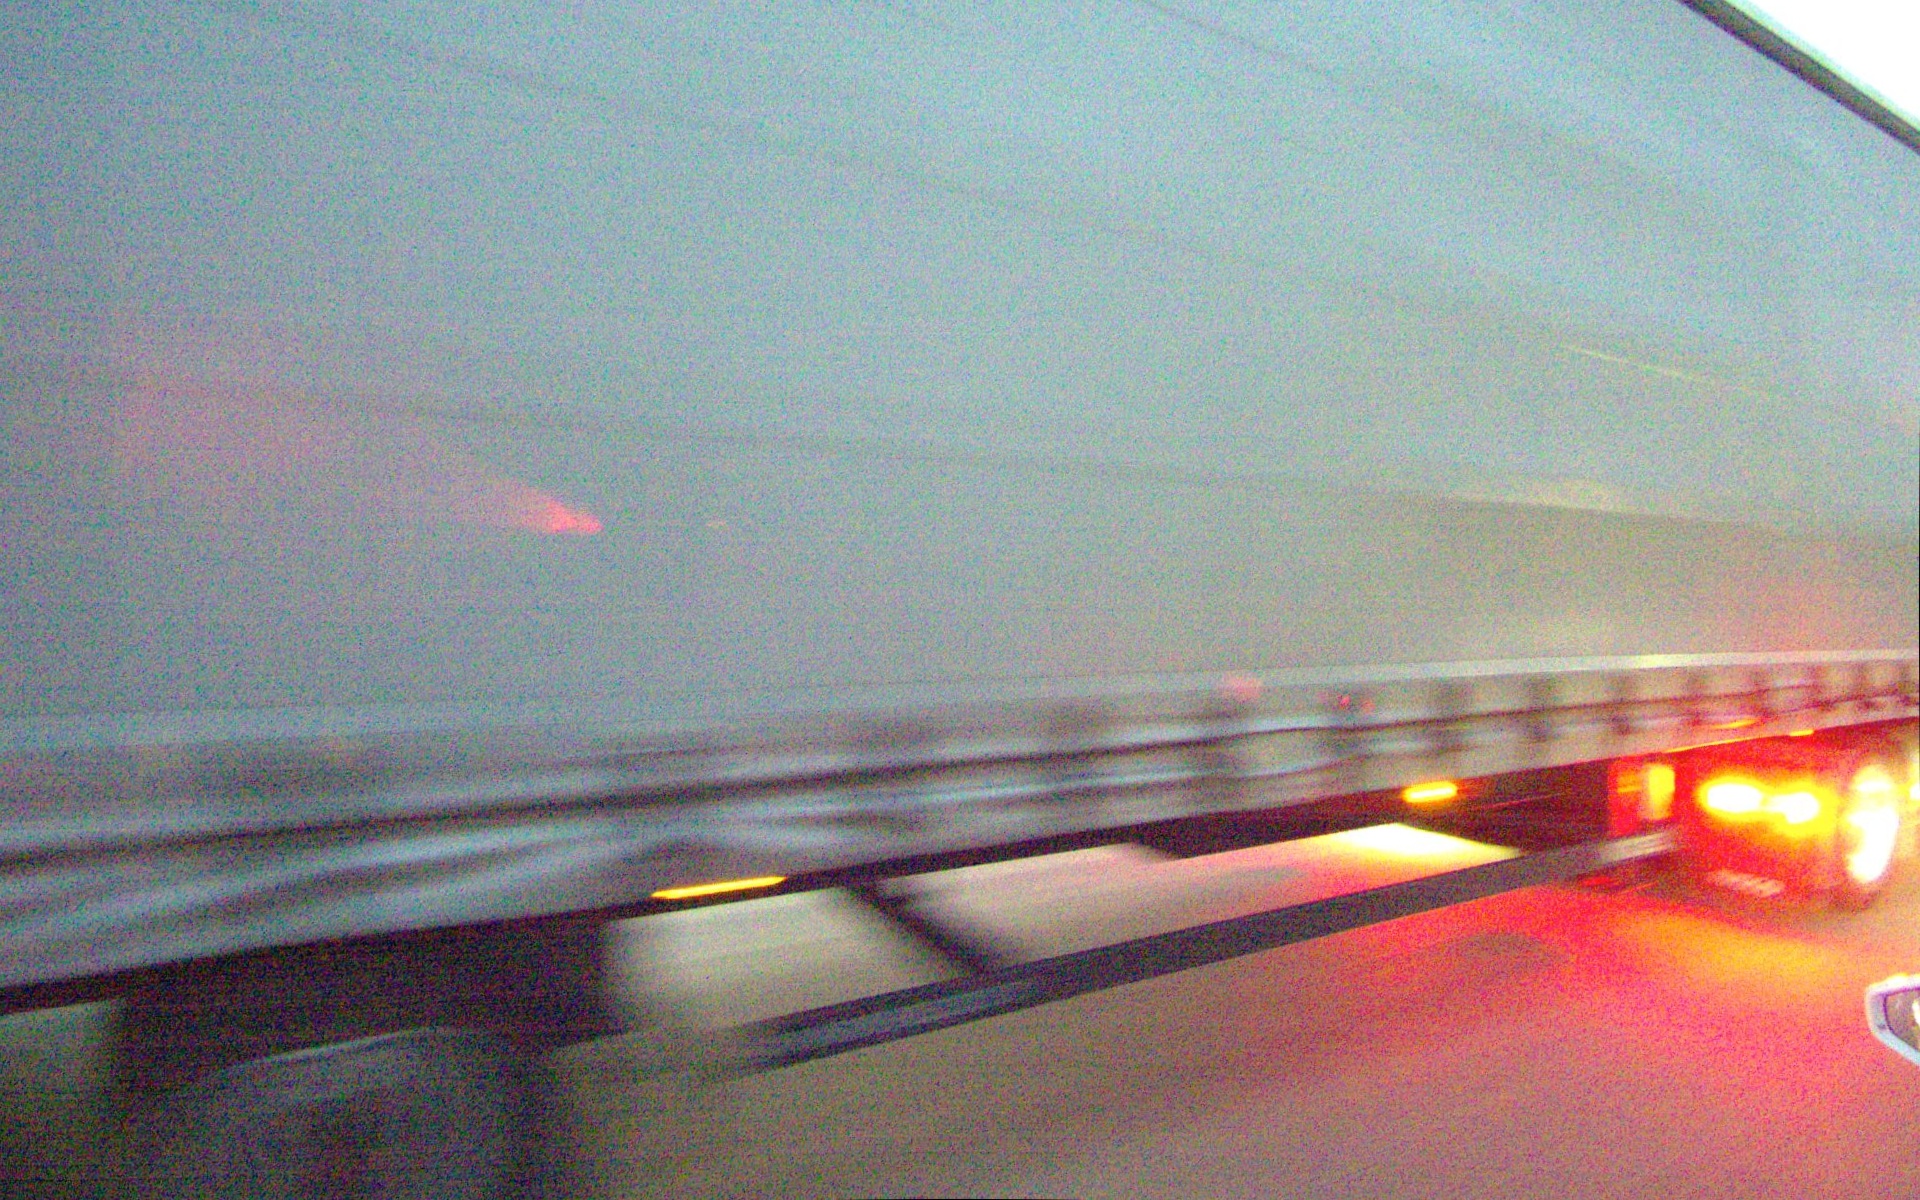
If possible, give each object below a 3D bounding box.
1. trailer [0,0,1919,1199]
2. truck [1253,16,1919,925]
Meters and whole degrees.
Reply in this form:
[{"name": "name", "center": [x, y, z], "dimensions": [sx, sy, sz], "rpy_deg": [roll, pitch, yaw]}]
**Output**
[{"name": "trailer", "center": [0.106, -0.641, 4.293], "dimensions": [14.888, 4.171, 3.532], "rpy_deg": [1, 0, -31]}, {"name": "truck", "center": [5.754, -0.539, 7.675], "dimensions": [6.080, 4.145, 3.533], "rpy_deg": [1, 0, -31]}]
